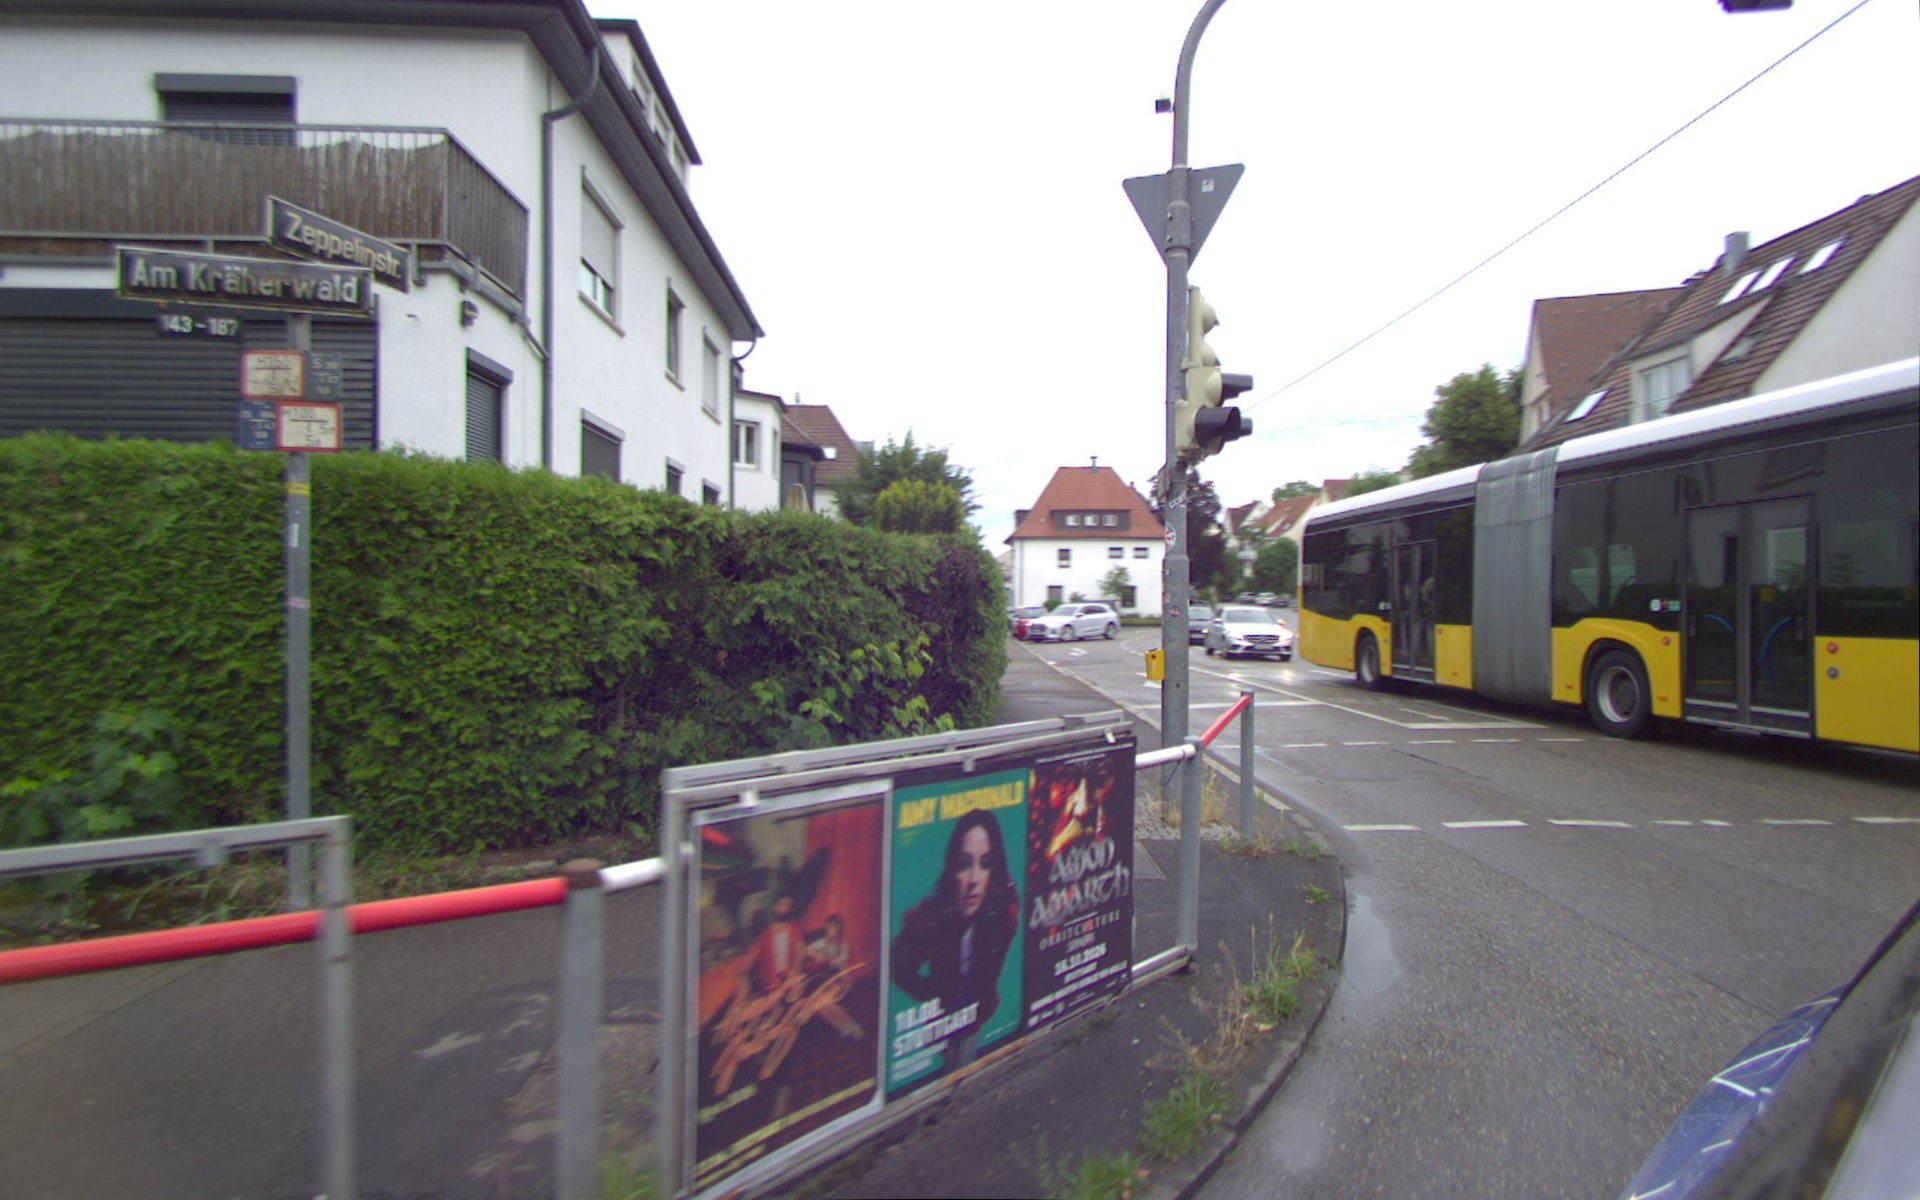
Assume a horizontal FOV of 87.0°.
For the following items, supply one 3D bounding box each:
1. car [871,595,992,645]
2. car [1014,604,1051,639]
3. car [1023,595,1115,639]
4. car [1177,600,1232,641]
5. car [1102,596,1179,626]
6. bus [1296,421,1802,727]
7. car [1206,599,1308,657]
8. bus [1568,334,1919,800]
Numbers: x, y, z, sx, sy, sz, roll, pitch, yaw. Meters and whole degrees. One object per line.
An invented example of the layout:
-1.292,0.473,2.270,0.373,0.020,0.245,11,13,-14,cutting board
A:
-1.048,0.739,37.366,4.001,1.773,2.004,1,-1,-22,car
3.387,0.980,47.655,1.587,1.557,3.537,-2,-1,3,car
4.715,0.725,43.510,3.825,1.720,1.793,-2,0,-43,car
9.323,0.763,38.838,1.704,1.498,4.029,0,-1,9,car
12.148,0.732,68.101,4.864,1.972,1.927,0,0,22,car
8.056,-0.270,15.726,2.634,3.442,8.680,0,0,-1,bus
8.307,0.756,28.726,1.965,1.498,4.477,0,-1,6,car
8.554,-0.250,6.868,2.851,3.442,9.046,0,0,-4,bus
